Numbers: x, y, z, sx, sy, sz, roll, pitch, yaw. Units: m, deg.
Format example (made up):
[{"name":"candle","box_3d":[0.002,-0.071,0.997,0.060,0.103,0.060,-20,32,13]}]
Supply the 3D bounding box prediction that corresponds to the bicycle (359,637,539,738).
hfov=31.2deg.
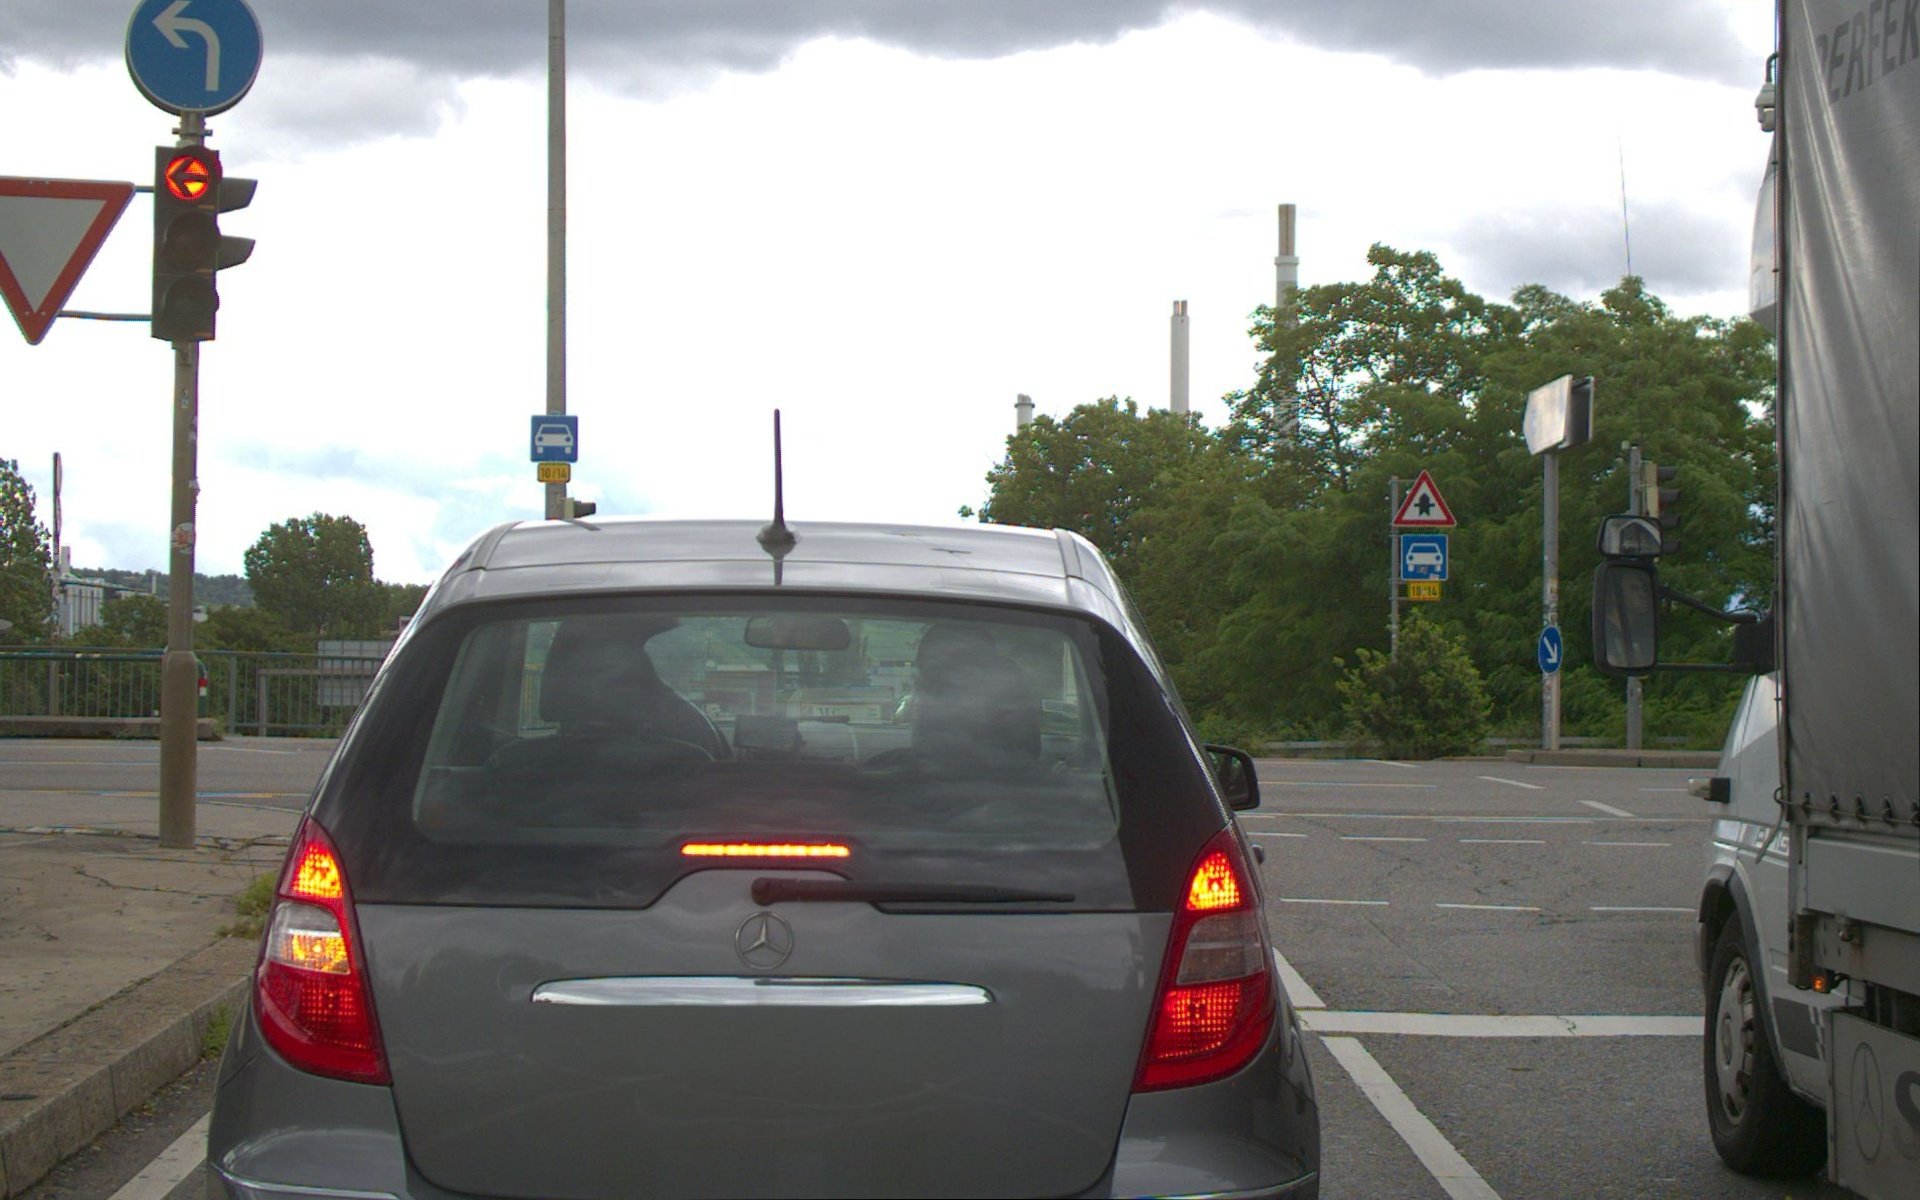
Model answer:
[{"name":"bicycle","box_3d":[-5.963,1.012,40.062,2.032,1.121,0.929,0,1,-11]}]

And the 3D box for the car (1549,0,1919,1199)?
[{"name":"car","box_3d":[2.961,-0.248,5.780,2.659,3.318,7.091,0,0,0]}]

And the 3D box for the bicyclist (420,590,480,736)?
[{"name":"bicyclist","box_3d":[-5.951,0.727,40.071,0.653,1.668,0.870,0,1,-11]}]

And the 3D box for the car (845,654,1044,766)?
[{"name":"car","box_3d":[-0.347,1.999,63.944,1.998,1.765,5.241,0,1,-21]}]

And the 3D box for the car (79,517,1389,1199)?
[{"name":"car","box_3d":[-0.272,0.636,6.881,1.858,1.583,4.000,0,2,2]}]
